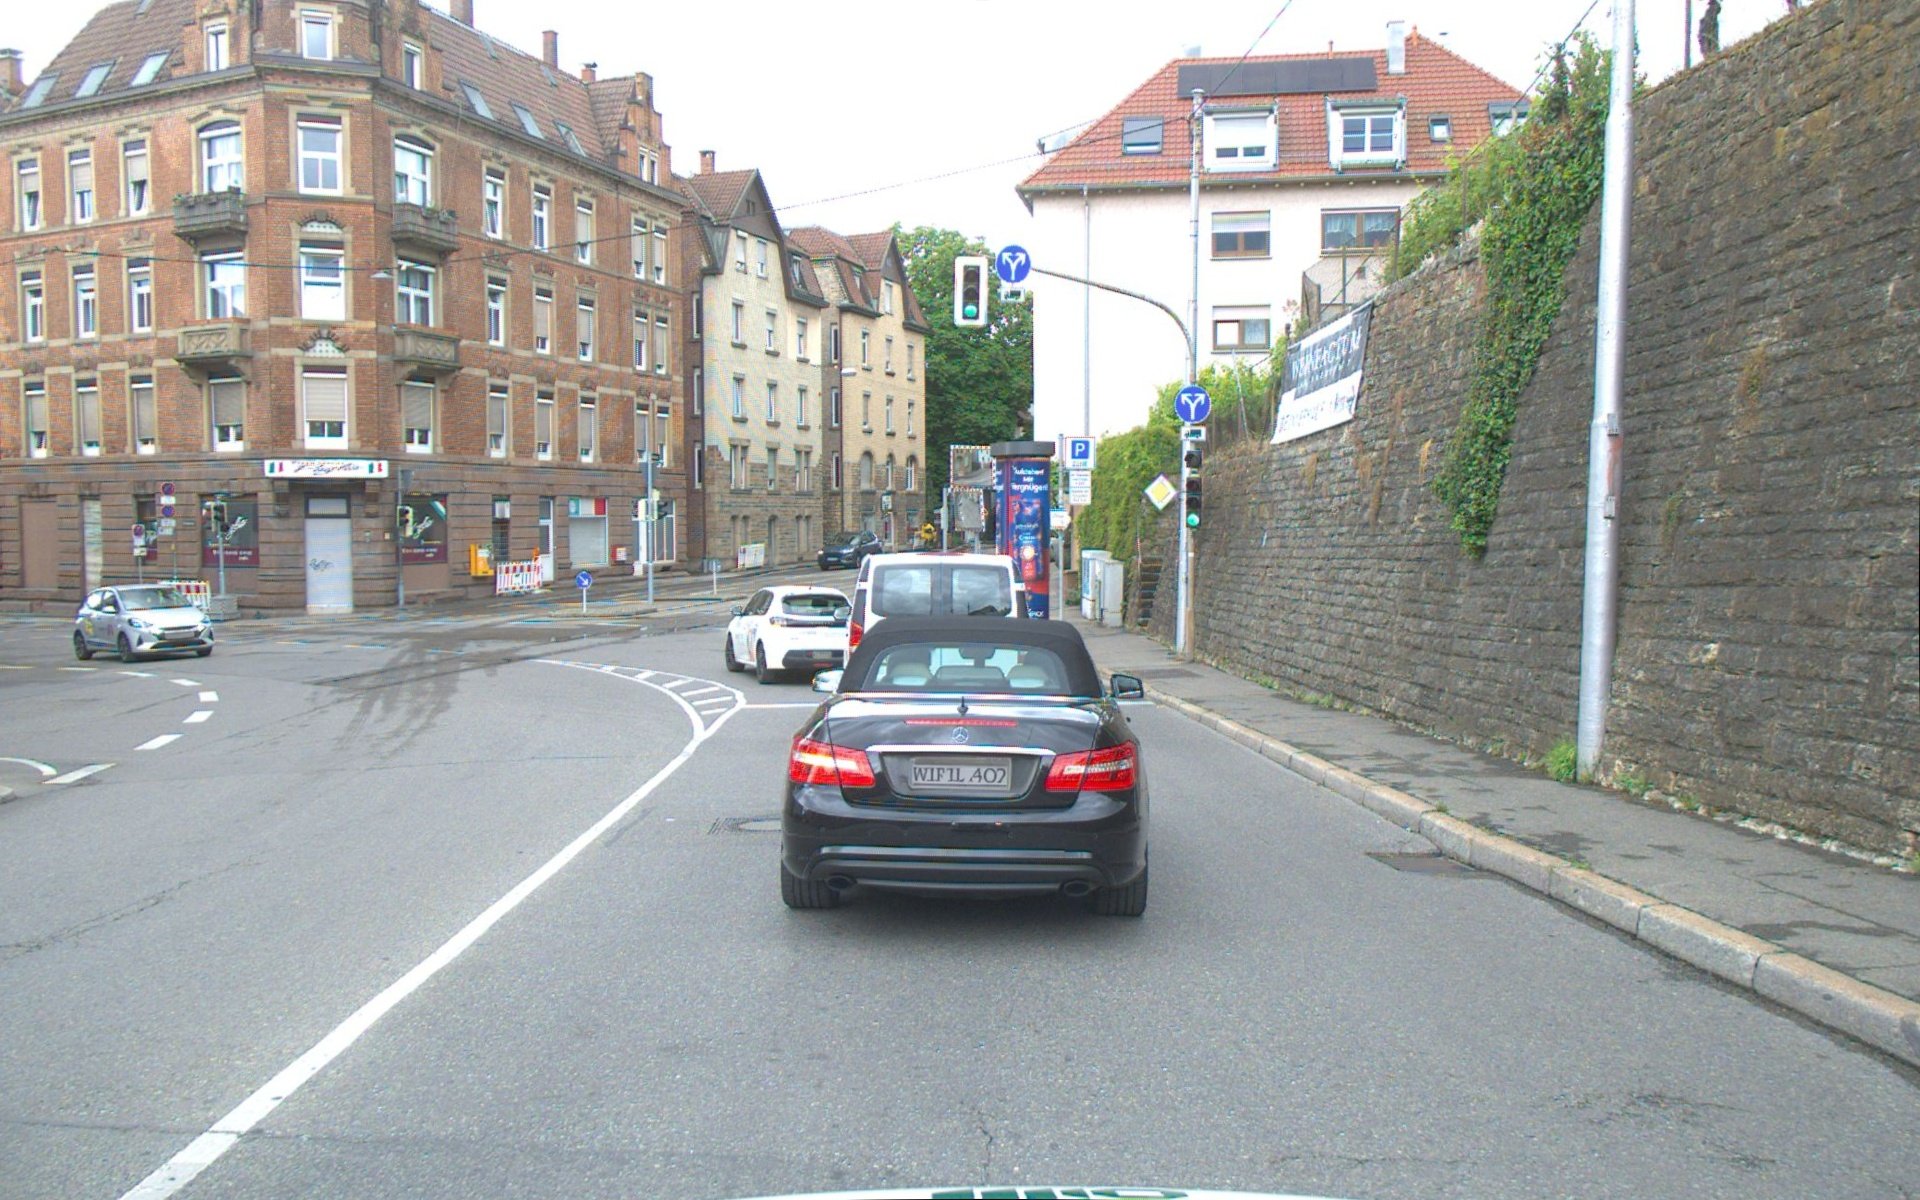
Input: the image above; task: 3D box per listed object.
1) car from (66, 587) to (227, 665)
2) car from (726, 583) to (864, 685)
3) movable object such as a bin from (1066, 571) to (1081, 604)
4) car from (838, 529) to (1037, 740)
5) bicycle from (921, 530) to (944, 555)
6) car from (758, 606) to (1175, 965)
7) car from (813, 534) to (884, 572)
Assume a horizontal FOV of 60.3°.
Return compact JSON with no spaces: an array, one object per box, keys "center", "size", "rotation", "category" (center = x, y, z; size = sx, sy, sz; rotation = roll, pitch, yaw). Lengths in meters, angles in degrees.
[{"center":[-16.646,0.512,33.798],"size":[3.575,1.493,1.666],"rotation":[0,0,40],"category":"car"},{"center":[-2.715,0.496,26.534],"size":[1.652,1.492,3.904],"rotation":[-1,0,-14],"category":"car"},{"center":[3.170,-0.349,46.093],"size":[0.337,0.927,0.494],"rotation":[0,0,-6],"category":"movable object such as a bin"},{"center":[-0.236,0.313,17.873],"size":[1.853,1.962,4.644],"rotation":[-1,0,-1],"category":"car"},{"center":[-1.552,-3.239,93.194],"size":[0.618,1.328,2.602],"rotation":[-4,2,13],"category":"bicycle"},{"center":[0.002,0.778,9.104],"size":[1.726,1.434,4.398],"rotation":[-1,0,-1],"category":"car"},{"center":[-5.087,-2.189,76.139],"size":[1.951,1.541,4.291],"rotation":[0,4,15],"category":"car"}]
